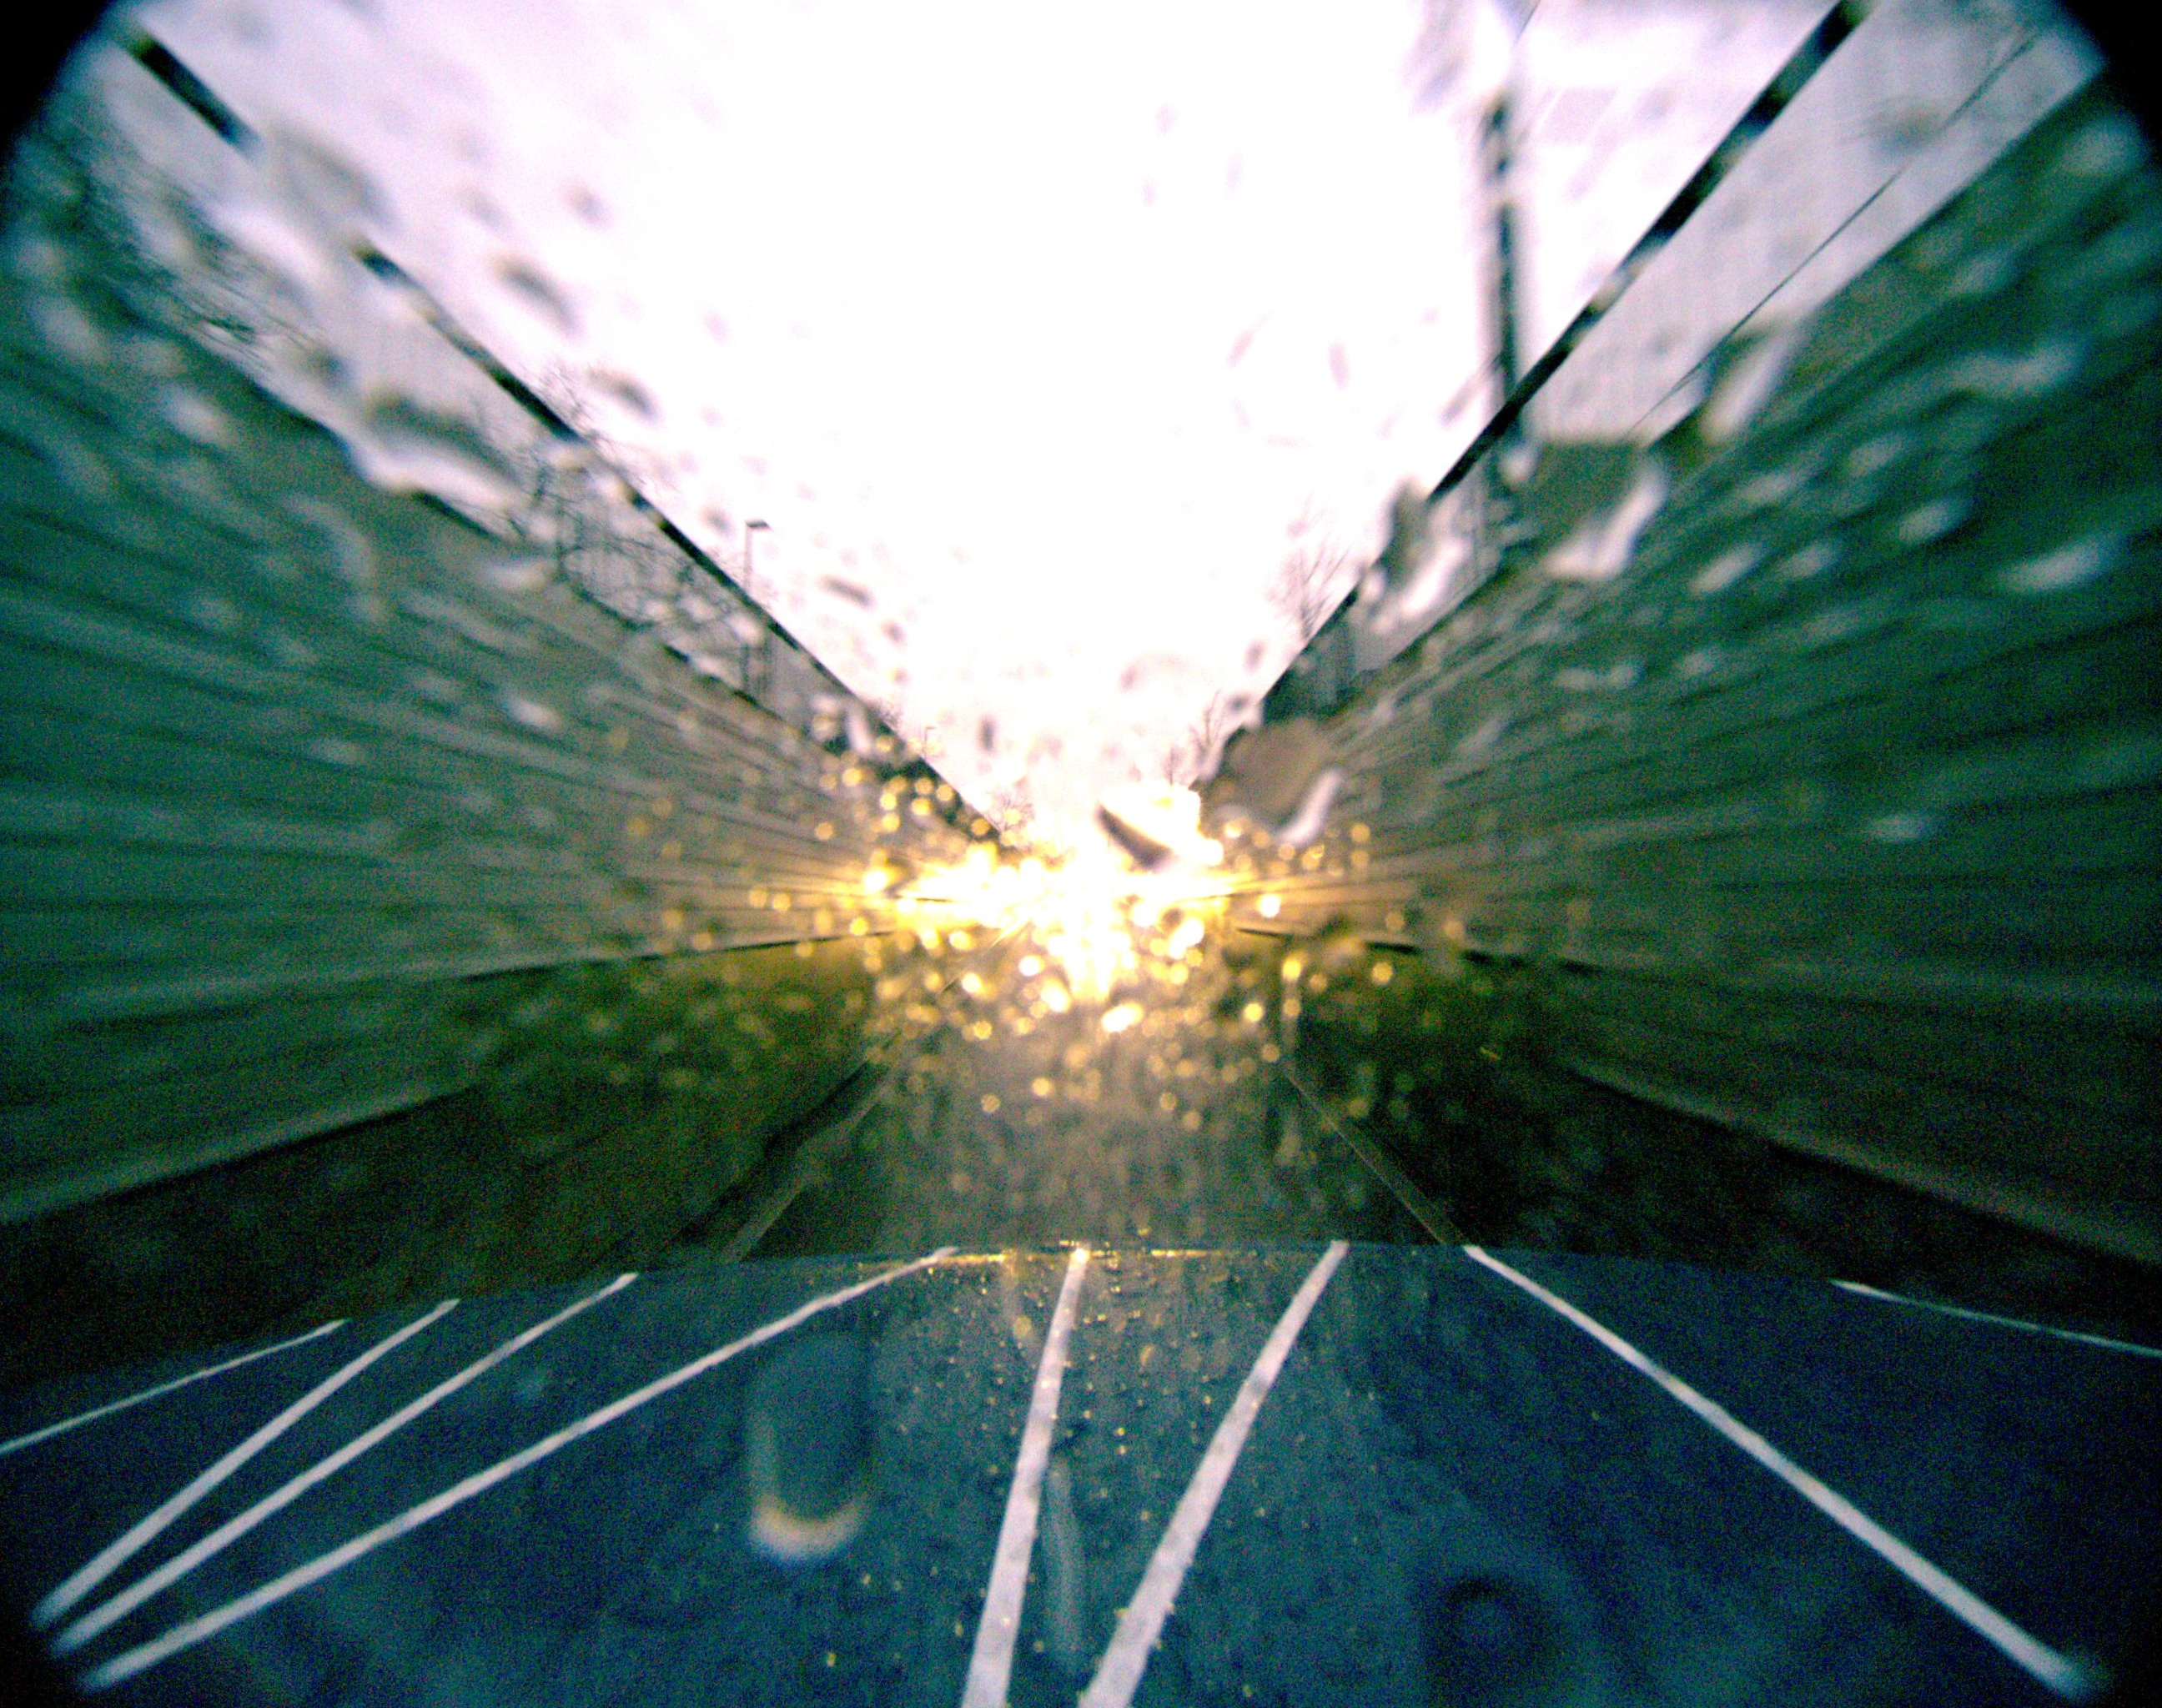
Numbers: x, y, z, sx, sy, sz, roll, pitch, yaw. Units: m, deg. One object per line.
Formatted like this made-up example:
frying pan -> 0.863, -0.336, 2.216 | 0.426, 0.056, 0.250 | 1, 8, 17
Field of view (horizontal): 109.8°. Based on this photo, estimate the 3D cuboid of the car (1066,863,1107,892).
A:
car -> 0.336, 1.340, 41.839 | 2.160, 1.488, 4.010 | -1, -3, 2
